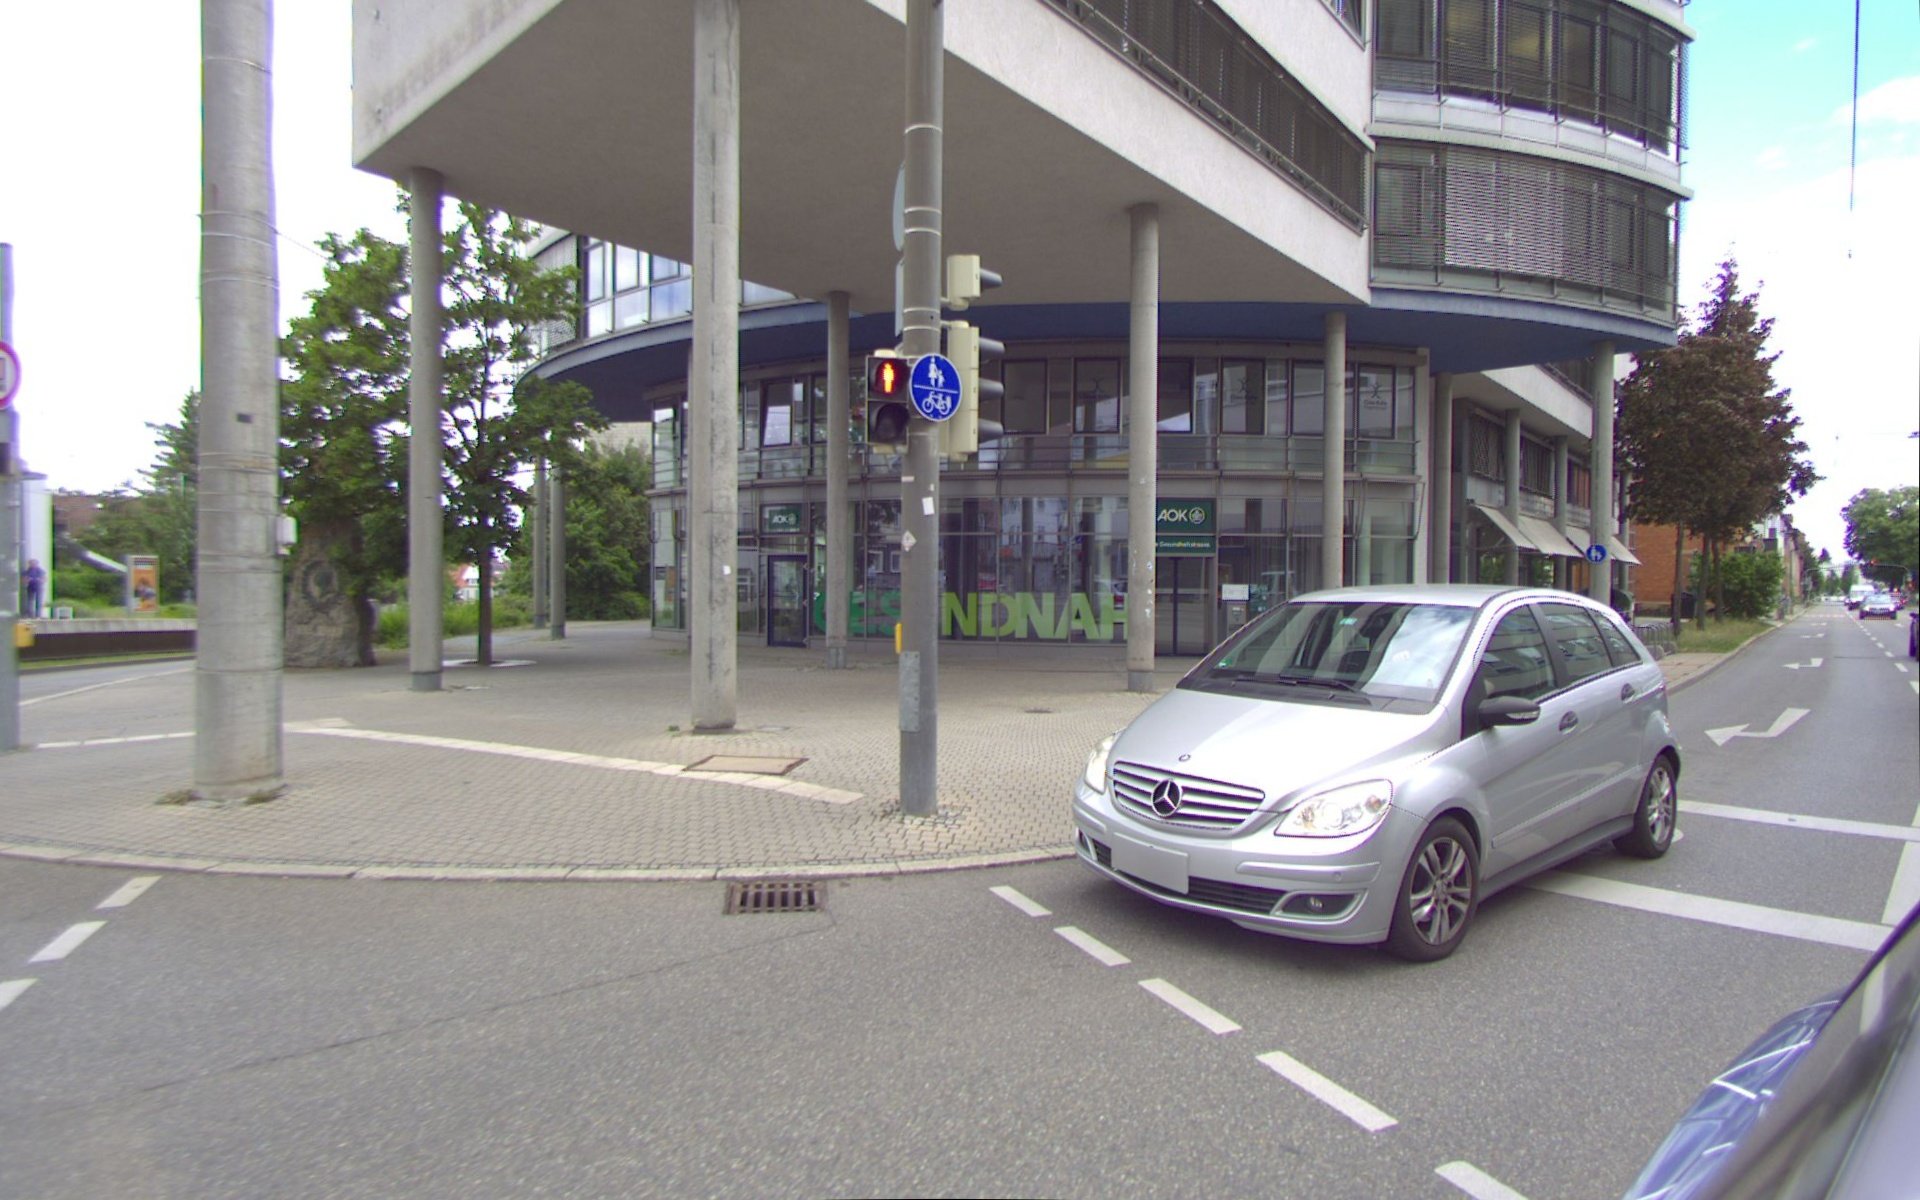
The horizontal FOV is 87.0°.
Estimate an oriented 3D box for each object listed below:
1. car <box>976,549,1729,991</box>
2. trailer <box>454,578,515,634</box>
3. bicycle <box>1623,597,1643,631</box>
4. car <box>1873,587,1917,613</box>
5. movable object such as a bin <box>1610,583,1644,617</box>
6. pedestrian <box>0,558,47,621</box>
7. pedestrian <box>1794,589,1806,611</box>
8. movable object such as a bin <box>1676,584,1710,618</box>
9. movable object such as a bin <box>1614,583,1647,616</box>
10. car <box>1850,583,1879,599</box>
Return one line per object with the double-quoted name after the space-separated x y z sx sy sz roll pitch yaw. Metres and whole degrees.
2.461 0.587 5.778 4.488 1.566 1.998 -1 -1 -38 "car"
-23.670 0.258 50.494 1.844 2.646 4.331 0 1 -13 "trailer"
22.920 0.472 34.476 0.360 1.100 1.998 0 0 39 "bicycle"
58.730 -0.055 63.580 1.959 1.545 4.501 2 1 43 "car"
30.479 -0.018 46.261 1.097 1.483 1.314 3 2 40 "movable object such as a bin"
-26.121 -0.289 28.216 0.772 1.740 0.691 0 -1 -20 "pedestrian"
66.014 -0.019 79.526 0.687 1.752 0.640 1 1 40 "pedestrian"
34.017 0.040 46.956 1.126 1.483 1.392 3 2 40 "movable object such as a bin"
31.329 -0.040 47.298 1.121 1.483 1.314 3 2 40 "movable object such as a bin"
90.903 -0.961 101.704 1.957 1.545 4.507 1 1 39 "car"
